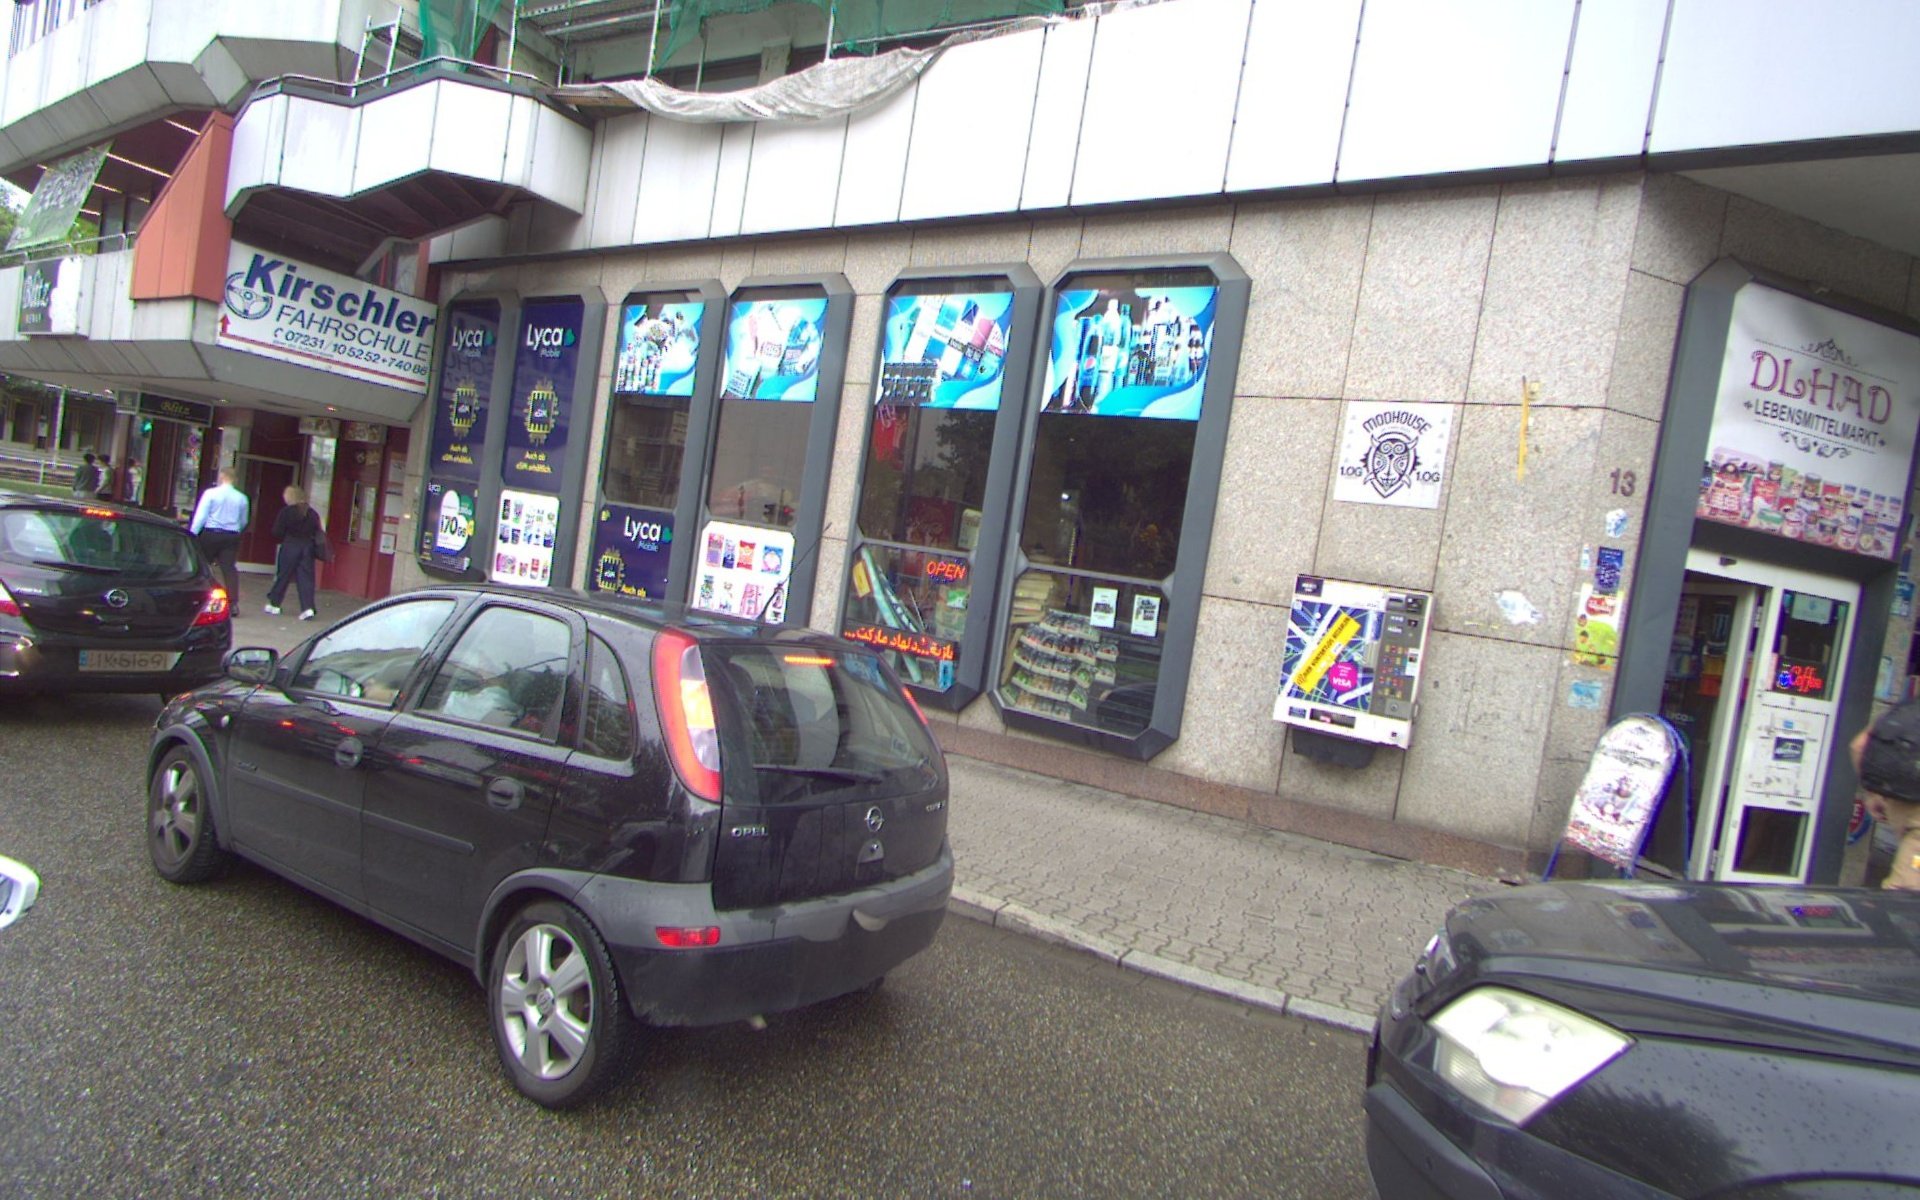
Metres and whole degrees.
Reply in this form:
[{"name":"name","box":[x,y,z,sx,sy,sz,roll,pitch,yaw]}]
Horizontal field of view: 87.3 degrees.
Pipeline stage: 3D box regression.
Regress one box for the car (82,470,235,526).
[{"name":"car","box":[-27.295,-3.444,34.357,1.808,1.226,3.690,5,-3,36]}]

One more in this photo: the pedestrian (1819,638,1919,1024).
[{"name":"pedestrian","box":[4.982,1.150,5.097,0.763,1.841,0.739,7,4,43]}]

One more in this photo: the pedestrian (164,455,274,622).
[{"name":"pedestrian","box":[-9.237,-0.756,12.554,0.629,1.957,0.737,6,-1,31]}]

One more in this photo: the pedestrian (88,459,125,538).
[{"name":"pedestrian","box":[-18.687,-2.212,22.014,0.496,1.660,0.396,6,1,32]}]

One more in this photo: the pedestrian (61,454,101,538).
[{"name":"pedestrian","box":[-18.629,-2.202,21.326,0.443,1.704,0.426,6,1,30]}]

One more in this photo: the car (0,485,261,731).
[{"name":"car","box":[-7.078,-0.110,7.344,3.776,1.446,1.620,8,-1,29]}]

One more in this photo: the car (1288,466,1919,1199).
[{"name":"car","box":[2.803,0.964,1.428,4.095,1.786,1.763,8,-1,32]}]

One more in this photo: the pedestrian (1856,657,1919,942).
[{"name":"pedestrian","box":[6.686,1.347,6.817,0.733,1.841,0.769,6,4,40]}]

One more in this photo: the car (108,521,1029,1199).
[{"name":"car","box":[-1.740,0.647,4.120,3.563,1.446,1.609,8,-1,33]}]

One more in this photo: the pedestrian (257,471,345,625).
[{"name":"pedestrian","box":[-8.712,-0.678,13.303,0.629,1.961,0.736,6,4,31]}]
